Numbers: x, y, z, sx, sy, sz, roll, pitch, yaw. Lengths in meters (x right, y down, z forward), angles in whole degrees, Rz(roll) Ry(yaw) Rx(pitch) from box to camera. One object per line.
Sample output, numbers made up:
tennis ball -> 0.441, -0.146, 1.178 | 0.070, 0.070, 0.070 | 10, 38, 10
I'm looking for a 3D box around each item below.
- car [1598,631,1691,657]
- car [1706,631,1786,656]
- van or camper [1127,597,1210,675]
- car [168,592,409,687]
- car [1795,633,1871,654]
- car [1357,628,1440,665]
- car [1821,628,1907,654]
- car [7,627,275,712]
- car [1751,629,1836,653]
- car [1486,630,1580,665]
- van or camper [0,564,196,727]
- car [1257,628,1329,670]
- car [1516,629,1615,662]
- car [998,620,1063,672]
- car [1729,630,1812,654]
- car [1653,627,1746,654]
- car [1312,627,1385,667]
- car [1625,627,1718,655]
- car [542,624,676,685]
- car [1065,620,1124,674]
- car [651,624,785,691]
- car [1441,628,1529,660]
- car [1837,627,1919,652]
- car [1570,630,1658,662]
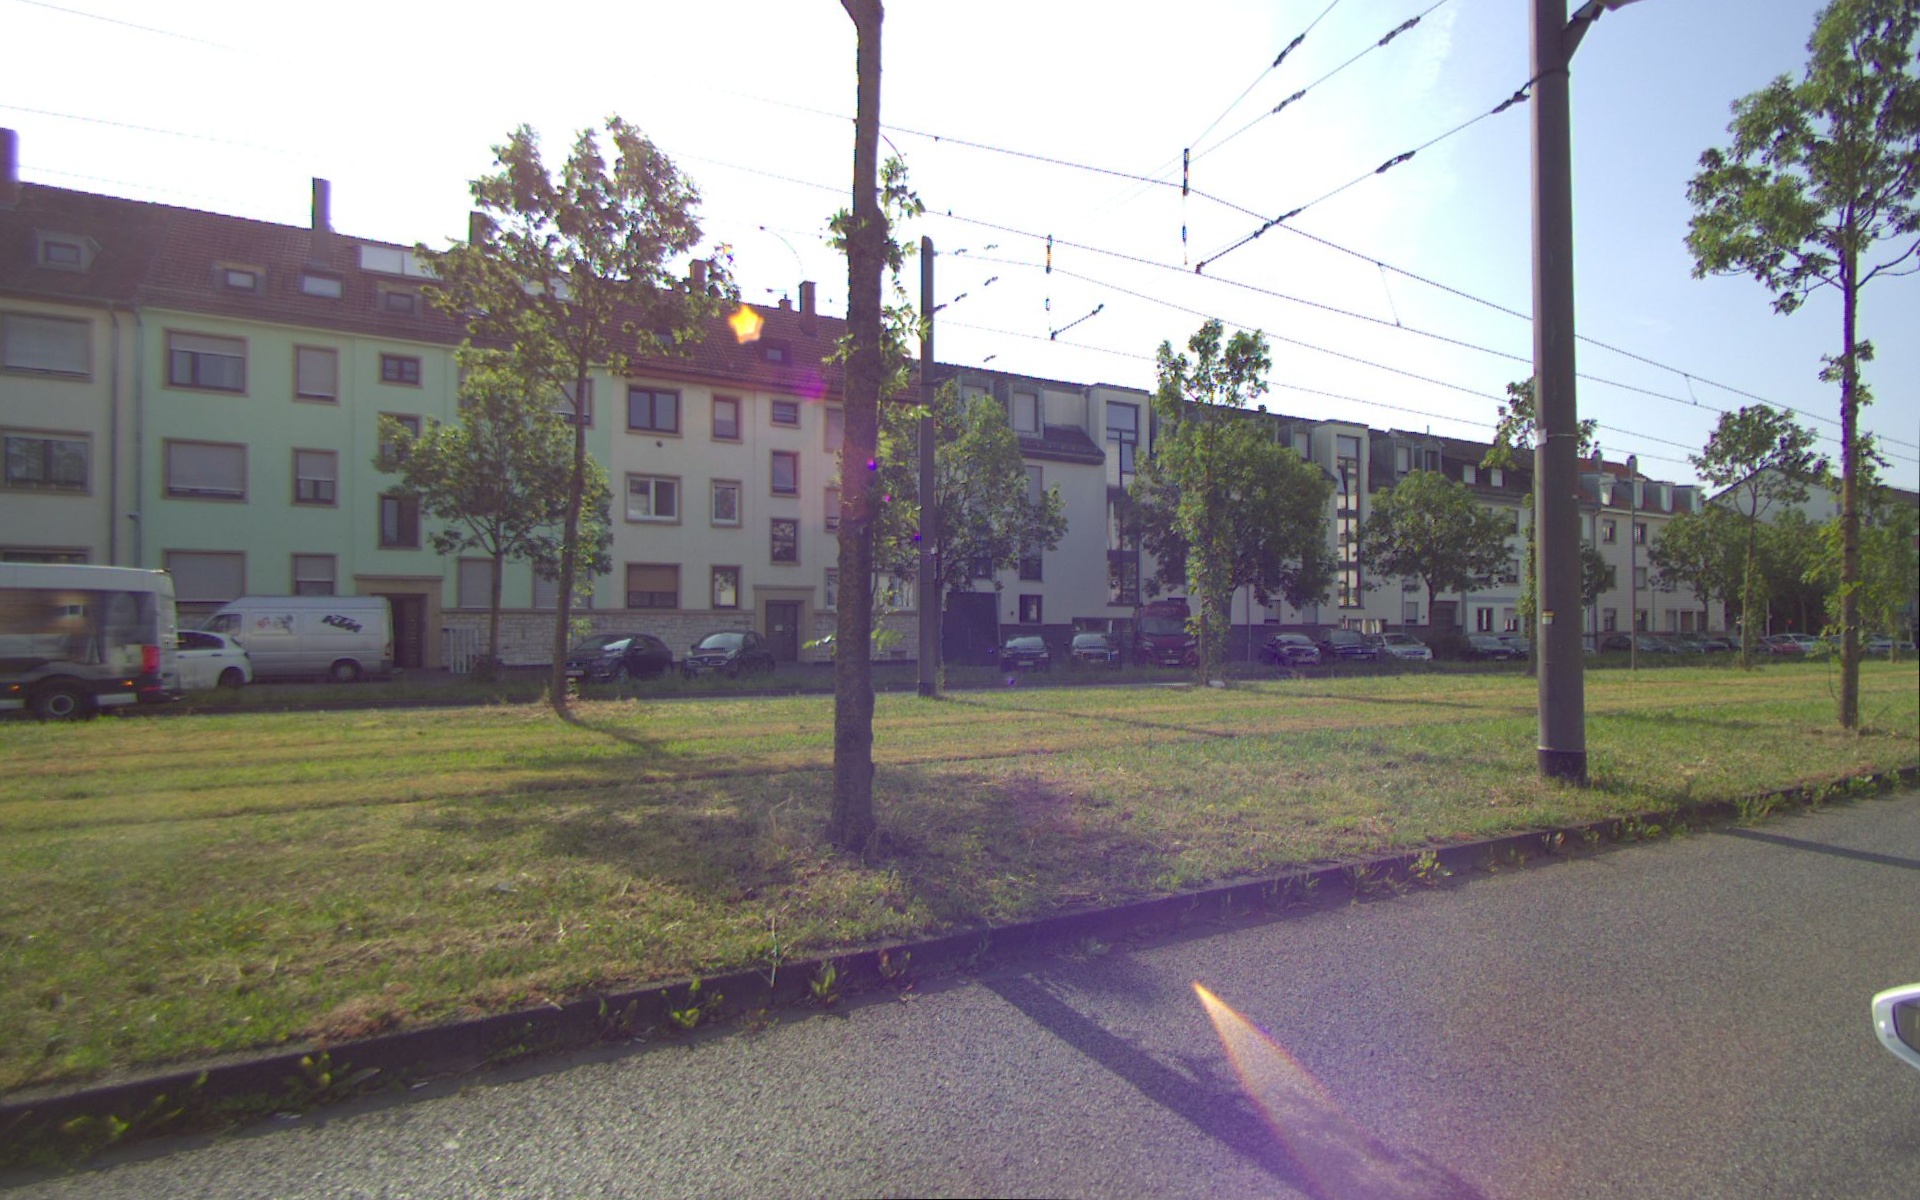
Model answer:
car -> 35.673, 2.279, 52.489 | 1.962, 1.305, 3.998 | 0, -2, -4
car -> 45.620, 2.497, 58.410 | 1.665, 1.251, 4.001 | 1, 0, 3
van or camper -> 7.369, 1.252, 36.218 | 2.365, 2.580, 6.166 | 0, -1, 6
car -> -18.897, 1.096, 28.673 | 5.510, 2.496, 1.985 | 1, 0, -29
car -> 56.900, 2.827, 65.575 | 1.959, 1.194, 4.002 | 1, 0, 11
car -> 18.158, 1.904, 41.819 | 1.699, 1.338, 4.401 | 1, 0, 3
car -> 59.517, 2.651, 66.266 | 1.959, 1.534, 4.467 | 1, 0, 6
car -> -17.227, 1.394, 21.465 | 1.820, 1.494, 4.369 | 1, 0, 7
car -> 51.108, 2.507, 61.701 | 1.849, 1.286, 4.000 | 1, 0, 0
car -> 26.303, 2.152, 46.280 | 1.890, 1.394, 3.998 | 1, 0, -3
van or camper -> -16.000, 0.732, 15.845 | 5.989, 2.506, 2.131 | 1, -3, -31
car -> 12.889, 1.874, 39.090 | 1.746, 1.439, 4.002 | 1, 0, 5
car -> 29.370, 2.188, 48.890 | 1.962, 1.394, 4.337 | 1, 0, -4
car -> 2.483, 1.516, 34.412 | 1.831, 1.529, 4.156 | 3, 0, 8
car -> 48.599, 2.510, 60.337 | 1.838, 1.275, 4.001 | 1, 0, 3
car -> 40.163, 2.181, 54.677 | 1.961, 1.305, 4.058 | 1, 0, -3
car -> 15.473, 1.844, 40.194 | 1.609, 1.453, 3.723 | 1, 0, 3
car -> 37.894, 2.161, 53.654 | 1.962, 1.305, 3.998 | 1, 0, -4
car -> -8.994, 1.349, 26.072 | 1.737, 1.360, 3.779 | 1, 0, 7
car -> 4.682, 1.560, 34.819 | 1.831, 1.637, 4.156 | 3, 0, 8
car -> -6.394, 1.476, 27.121 | 1.959, 1.550, 4.353 | 1, 0, 9
car -> 23.965, 1.965, 45.996 | 1.800, 1.394, 3.999 | 0, -2, -3
car -> 62.475, 2.659, 68.339 | 1.924, 1.483, 4.355 | 1, 0, 3
car -> 31.917, 2.238, 49.153 | 1.632, 1.394, 3.778 | 1, 0, -4
